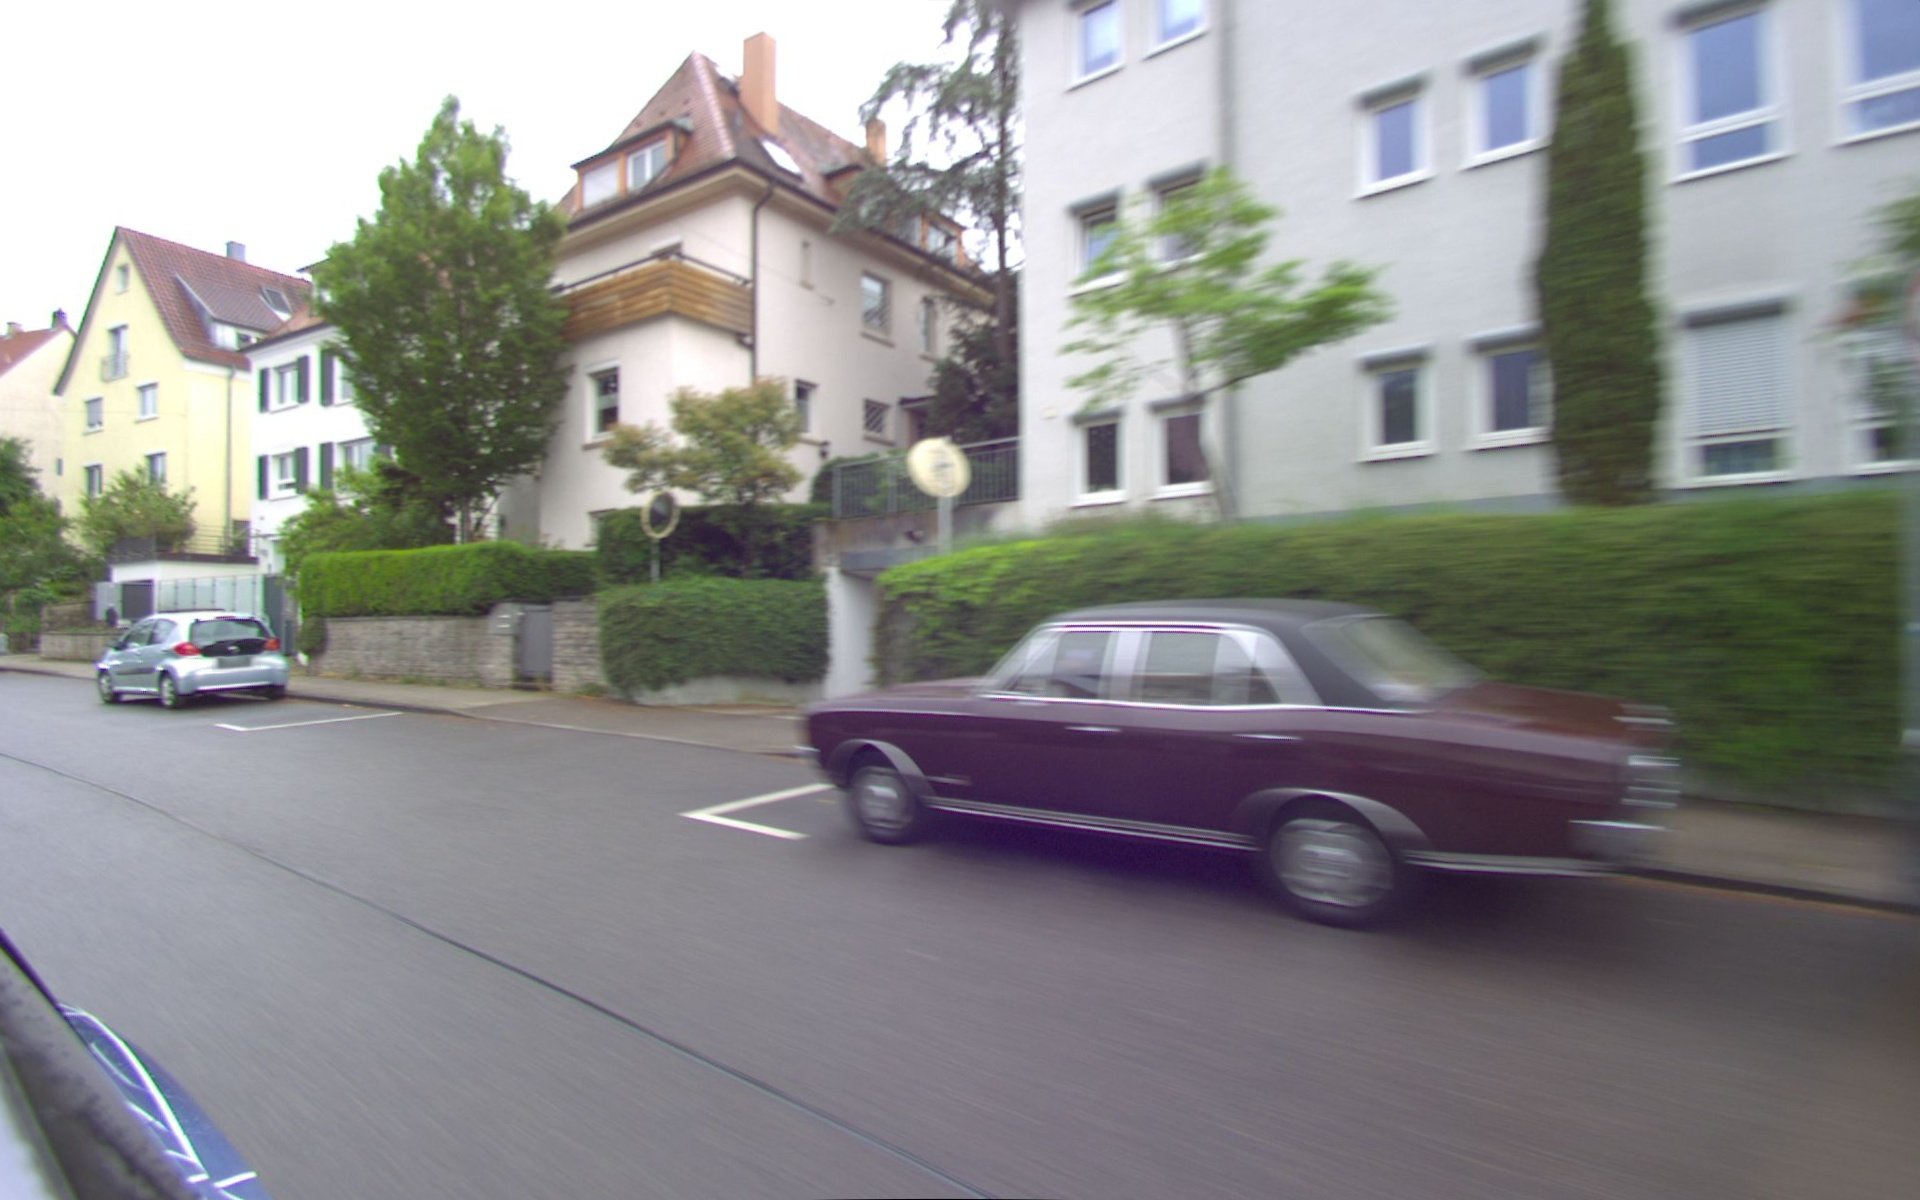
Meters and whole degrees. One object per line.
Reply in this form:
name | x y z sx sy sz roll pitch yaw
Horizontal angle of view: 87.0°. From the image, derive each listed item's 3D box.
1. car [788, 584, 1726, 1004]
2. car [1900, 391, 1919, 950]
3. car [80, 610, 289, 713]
car | 1.255 0.711 5.512 4.605 1.428 1.628 -2 -1 38
car | 5.237 0.274 1.862 5.006 2.071 1.811 -1 0 40
car | -12.671 0.947 16.507 3.475 1.497 1.593 -1 -1 32
